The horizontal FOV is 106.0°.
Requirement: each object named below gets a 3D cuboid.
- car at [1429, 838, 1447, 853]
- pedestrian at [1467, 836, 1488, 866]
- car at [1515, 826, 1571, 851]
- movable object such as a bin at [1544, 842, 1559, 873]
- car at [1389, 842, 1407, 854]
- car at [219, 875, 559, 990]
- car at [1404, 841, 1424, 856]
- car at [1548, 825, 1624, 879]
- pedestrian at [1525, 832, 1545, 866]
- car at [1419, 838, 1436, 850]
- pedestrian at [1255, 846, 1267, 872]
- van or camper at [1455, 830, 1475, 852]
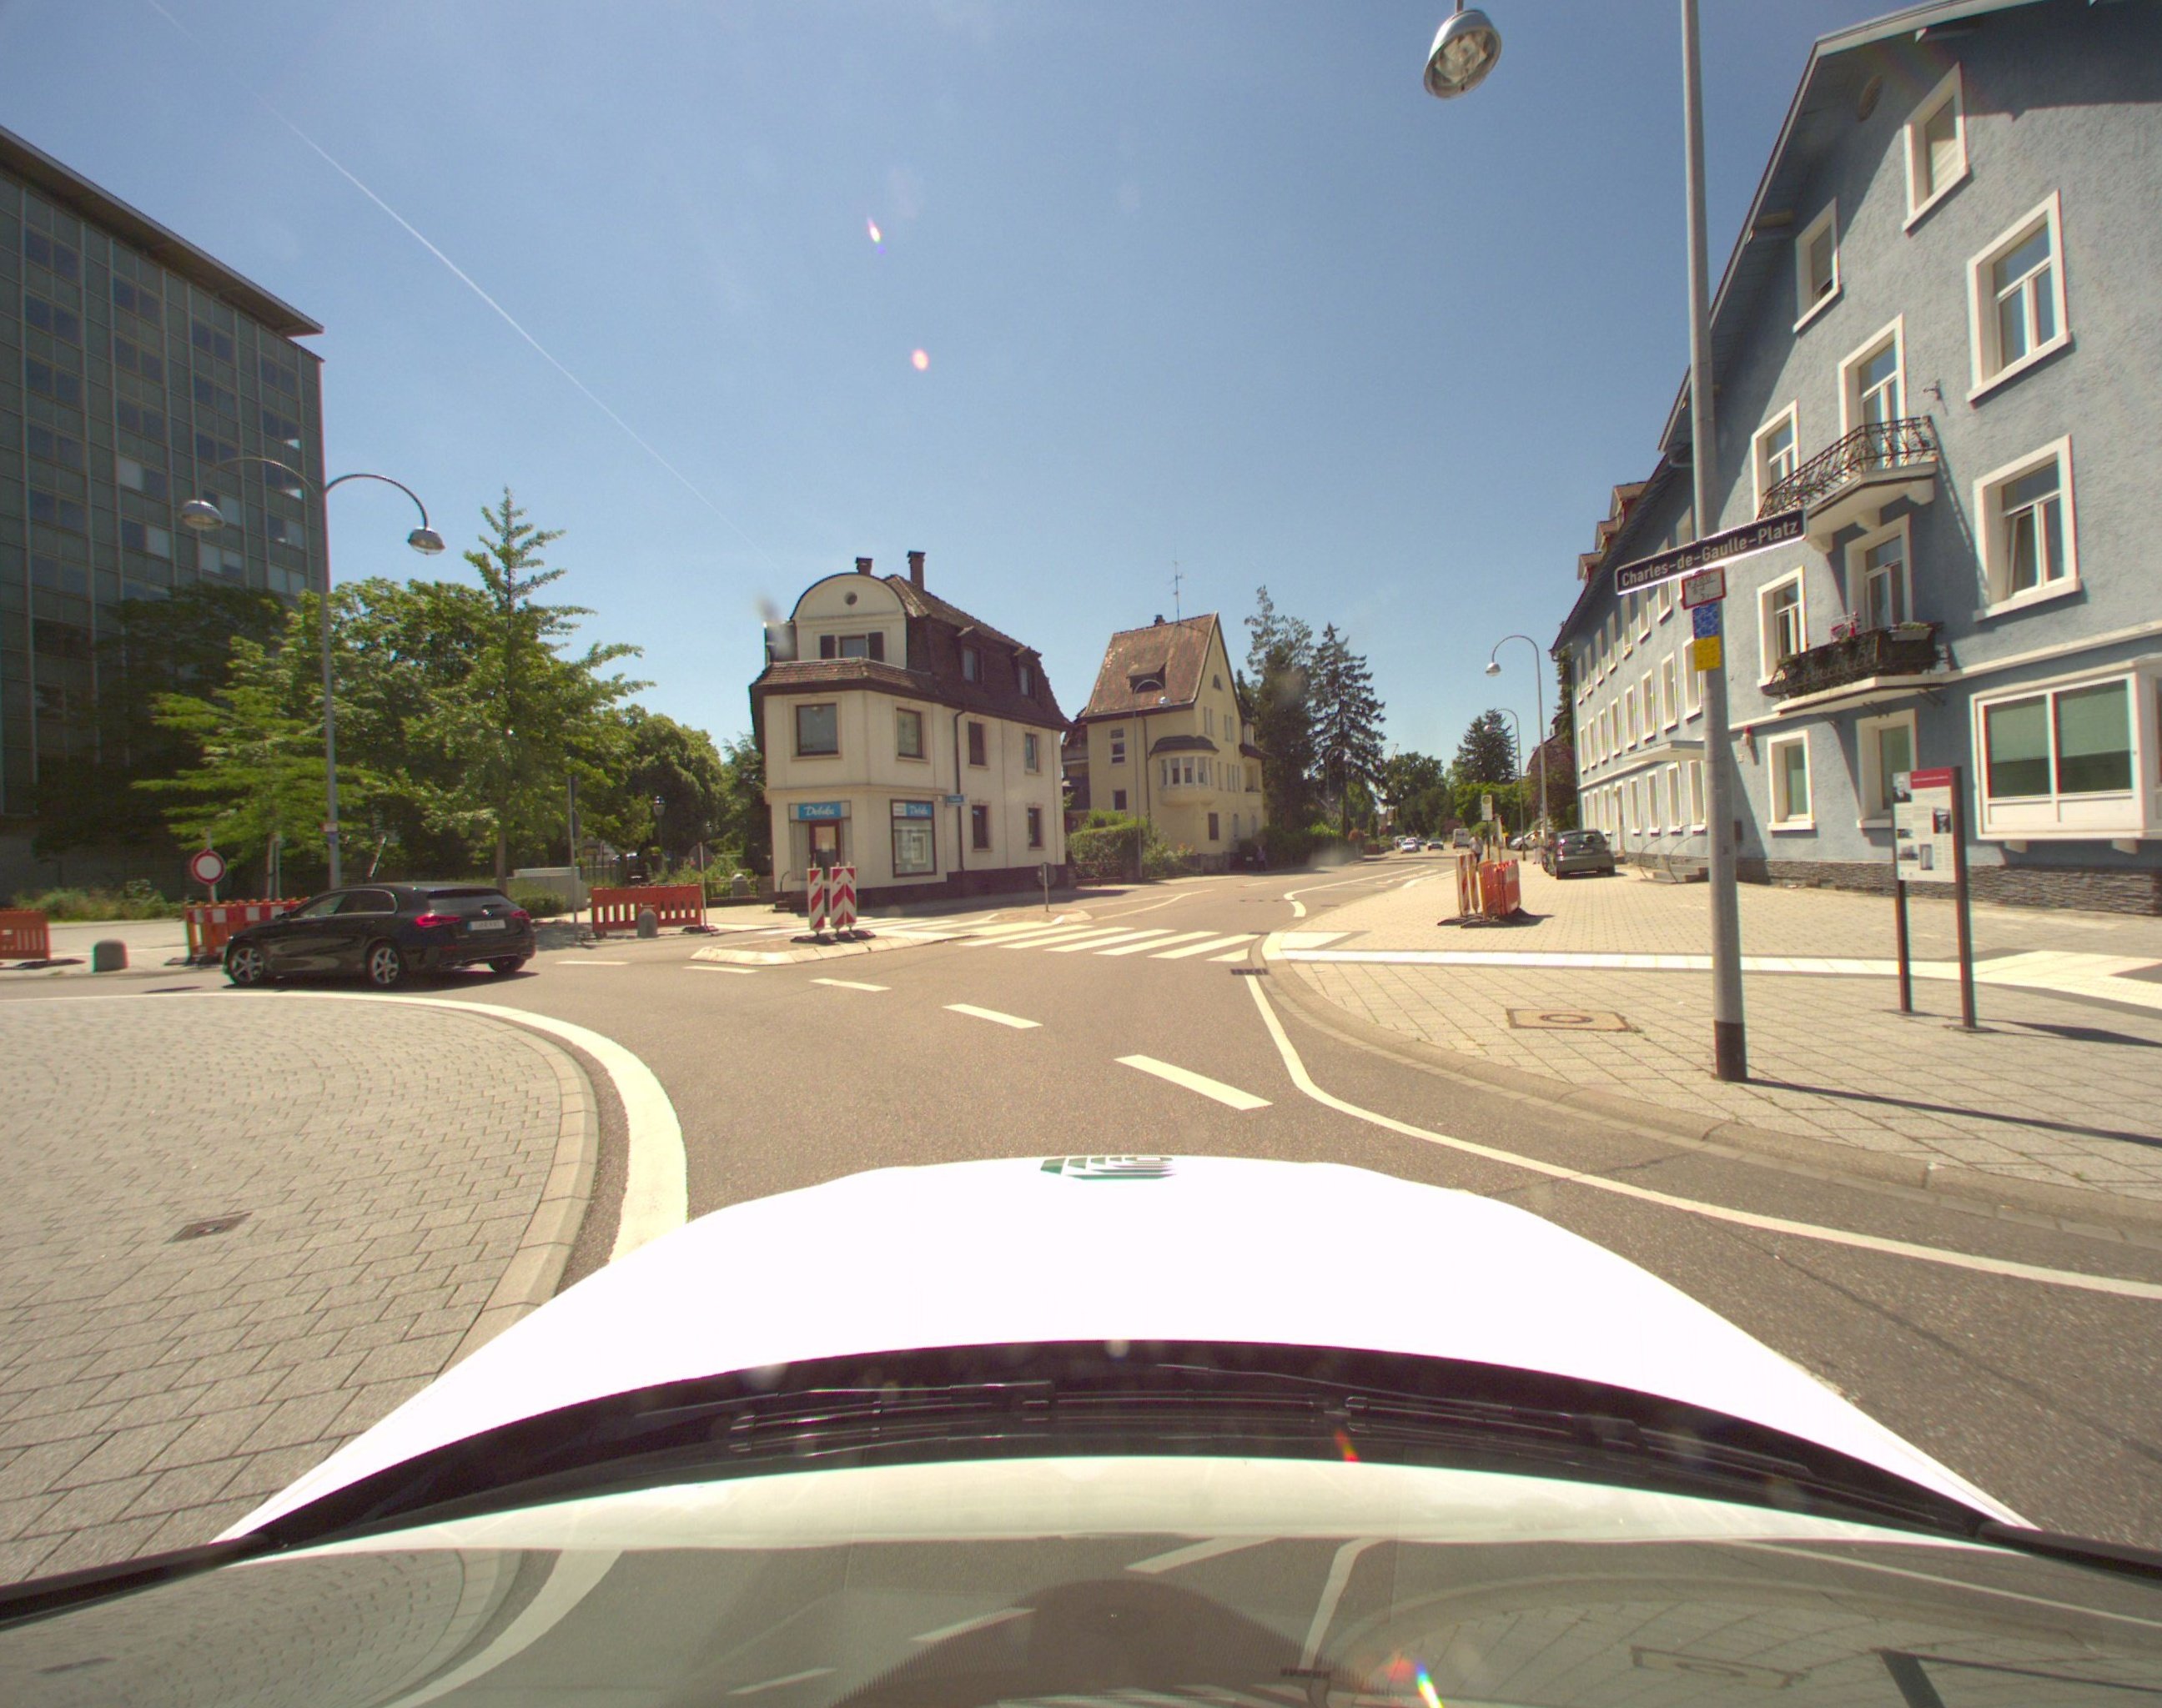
[{"bbox_3d":[45.344,-1.064,103.408,1.975,1.717,4.024,-2,0,26],"label":"car"},{"bbox_3d":[18.218,-0.140,37.408,0.660,1.286,0.591,-7,-2,33],"label":"pedestrian"},{"bbox_3d":[40.587,-1.311,71.580,3.953,2.013,2.010,-2,0,20],"label":"car"},{"bbox_3d":[17.799,0.133,30.813,0.280,1.123,1.193,-5,-2,37],"label":"movable object such as a bin"},{"bbox_3d":[56.260,-0.991,144.662,1.982,2.013,4.009,-2,0,8],"label":"car"},{"bbox_3d":[-10.102,1.090,11.970,3.955,1.427,1.969,-2,-1,18],"label":"car"},{"bbox_3d":[39.835,-0.689,97.355,1.975,1.651,4.023,-2,0,25],"label":"car"},{"bbox_3d":[16.310,-0.096,26.443,1.624,1.507,3.585,-6,-1,26],"label":"car"},{"bbox_3d":[22.268,-0.230,39.978,0.660,1.594,0.591,-7,-2,33],"label":"pedestrian"},{"bbox_3d":[62.485,-1.744,146.896,1.980,2.013,4.013,-2,0,11],"label":"car"},{"bbox_3d":[10.820,0.303,48.868,0.518,1.509,0.476,-2,0,32],"label":"pedestrian"},{"bbox_3d":[49.550,-1.682,105.161,2.186,2.610,4.023,-2,0,24],"label":"van or camper"}]
